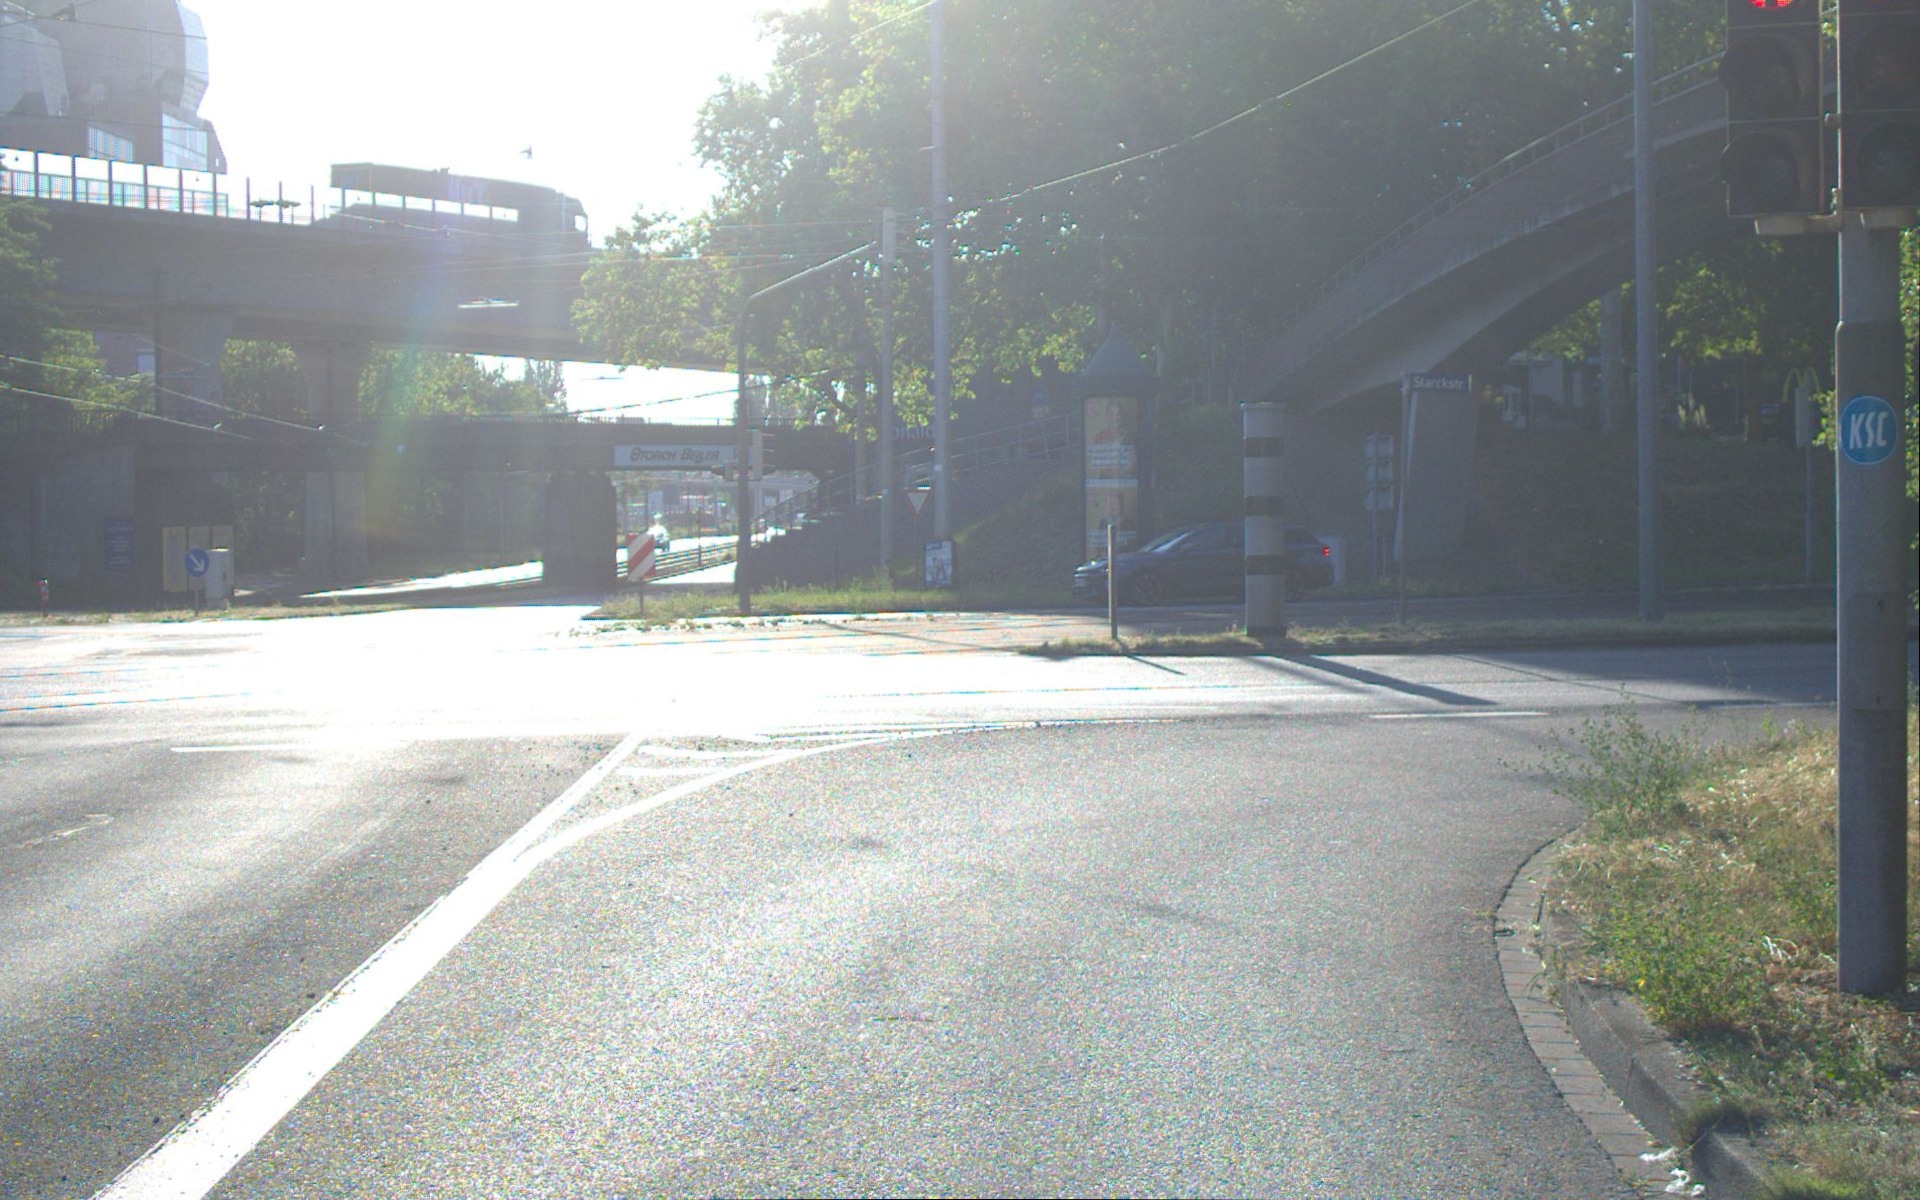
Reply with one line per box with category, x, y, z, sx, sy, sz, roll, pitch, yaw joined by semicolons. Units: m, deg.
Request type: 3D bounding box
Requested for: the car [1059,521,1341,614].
car;4.177;-0.572;59.813;4.574;1.569;1.694;0;1;-17
